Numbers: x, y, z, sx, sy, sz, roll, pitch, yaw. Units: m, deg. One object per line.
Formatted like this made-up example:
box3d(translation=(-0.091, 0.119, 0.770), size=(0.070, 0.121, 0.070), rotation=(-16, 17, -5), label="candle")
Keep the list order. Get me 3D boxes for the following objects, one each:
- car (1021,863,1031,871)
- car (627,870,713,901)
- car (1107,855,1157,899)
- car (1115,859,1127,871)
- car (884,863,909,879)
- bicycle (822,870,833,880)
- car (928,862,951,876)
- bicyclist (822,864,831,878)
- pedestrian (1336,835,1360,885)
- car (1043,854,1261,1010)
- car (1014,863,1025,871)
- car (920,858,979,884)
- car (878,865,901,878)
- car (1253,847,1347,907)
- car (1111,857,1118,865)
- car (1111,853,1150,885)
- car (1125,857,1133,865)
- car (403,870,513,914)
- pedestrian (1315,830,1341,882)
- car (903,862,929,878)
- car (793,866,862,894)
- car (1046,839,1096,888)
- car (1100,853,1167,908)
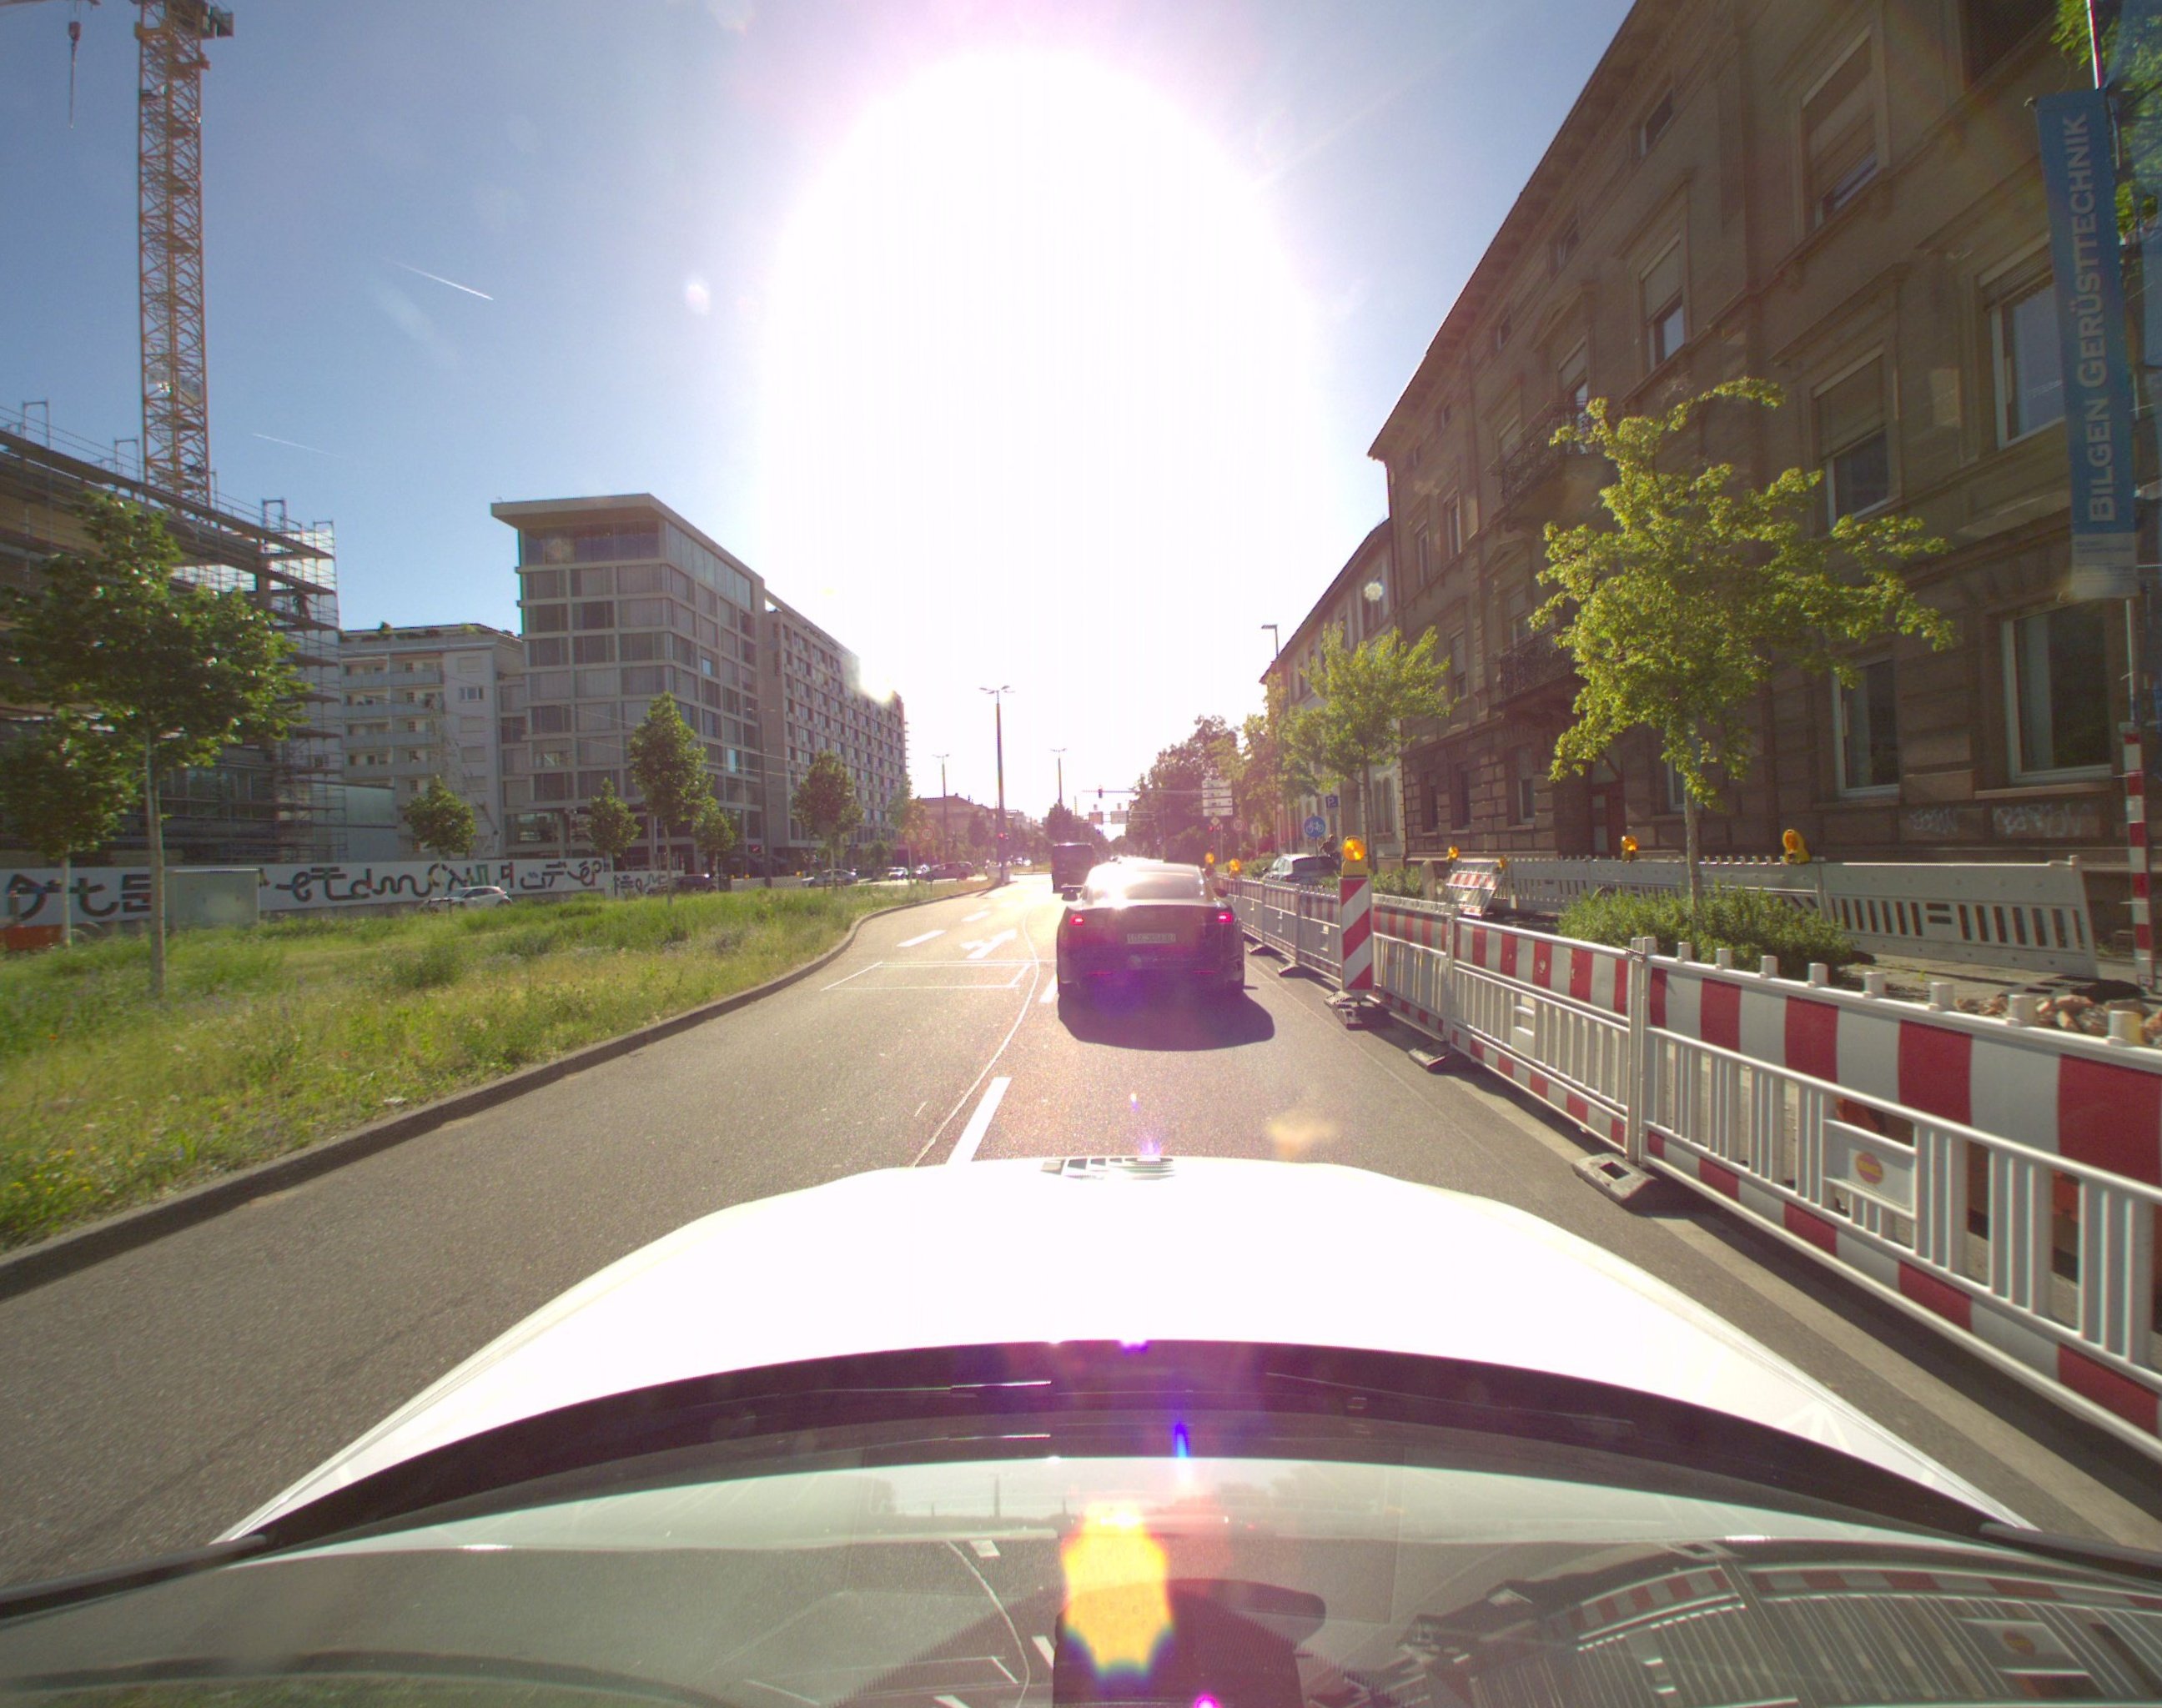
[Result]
box3d(translation=(-12.940, 2.997, 191.752), size=(1.782, 1.651, 4.004), rotation=(-3, 0, 4), label="car")
box3d(translation=(-26.632, 2.024, 52.916), size=(1.974, 1.792, 4.556), rotation=(-3, 0, 35), label="car")
box3d(translation=(1.960, 0.840, 31.156), size=(1.742, 1.527, 4.009), rotation=(-1, 0, 4), label="car")
box3d(translation=(6.431, 1.749, 131.942), size=(1.785, 1.873, 3.851), rotation=(-1, -1, 2), label="car")
box3d(translation=(-21.626, 1.994, 95.524), size=(1.782, 1.651, 4.004), rotation=(-3, 0, 4), label="car")
box3d(translation=(-28.810, 2.350, 92.548), size=(0.583, 1.100, 1.626), rotation=(-1, -1, 7), label="bicycle")
box3d(translation=(-17.589, 1.819, 101.354), size=(1.782, 1.651, 4.004), rotation=(-3, 0, 4), label="car")
box3d(translation=(-28.928, 1.917, 92.594), size=(0.590, 1.580, 0.894), rotation=(-1, -1, 7), label="bicyclist")
box3d(translation=(10.086, 0.215, 30.775), size=(0.560, 1.821, 0.588), rotation=(-5, 0, 2), label="pedestrian")
box3d(translation=(0.793, 0.743, 10.008), size=(2.043, 1.444, 4.528), rotation=(-1, 0, 3), label="car")
box3d(translation=(-12.862, 2.707, 170.229), size=(1.800, 1.651, 4.004), rotation=(-3, 0, 4), label="car")
box3d(translation=(-10.672, 1.364, 65.982), size=(4.520, 1.792, 1.990), rotation=(-2, 0, -15), label="car")
box3d(translation=(-25.709, 2.351, 109.580), size=(1.782, 1.651, 4.004), rotation=(-3, 0, 4), label="car")
box3d(translation=(6.384, 0.624, 24.230), size=(1.641, 1.475, 4.704), rotation=(-5, 0, 3), label="car")
box3d(translation=(8.050, 1.663, 196.717), size=(1.785, 1.873, 3.851), rotation=(-1, -1, 2), label="car")
box3d(translation=(2.407, 0.715, 40.042), size=(1.785, 1.428, 3.851), rotation=(-1, -1, 2), label="car")
box3d(translation=(11.415, 1.591, 192.480), size=(1.785, 1.873, 3.851), rotation=(-1, -1, 2), label="car")
box3d(translation=(-30.632, 1.839, 40.204), size=(1.896, 1.918, 3.999), rotation=(-2, 0, 12), label="car")
box3d(translation=(9.338, 0.080, 30.787), size=(0.656, 1.913, 0.588), rotation=(-5, 0, 2), label="pedestrian")
box3d(translation=(-18.849, 1.847, 93.036), size=(1.782, 1.651, 4.004), rotation=(-3, 0, 4), label="car")
box3d(translation=(-19.183, 1.953, 61.687), size=(4.549, 1.792, 1.977), rotation=(-2, 0, -39), label="car")
box3d(translation=(-0.405, 0.418, 40.303), size=(2.209, 2.267, 4.486), rotation=(-1, 0, 2), label="car")
box3d(translation=(1.514, 0.707, 24.078), size=(1.740, 1.427, 4.842), rotation=(-2, 0, 3), label="car")
